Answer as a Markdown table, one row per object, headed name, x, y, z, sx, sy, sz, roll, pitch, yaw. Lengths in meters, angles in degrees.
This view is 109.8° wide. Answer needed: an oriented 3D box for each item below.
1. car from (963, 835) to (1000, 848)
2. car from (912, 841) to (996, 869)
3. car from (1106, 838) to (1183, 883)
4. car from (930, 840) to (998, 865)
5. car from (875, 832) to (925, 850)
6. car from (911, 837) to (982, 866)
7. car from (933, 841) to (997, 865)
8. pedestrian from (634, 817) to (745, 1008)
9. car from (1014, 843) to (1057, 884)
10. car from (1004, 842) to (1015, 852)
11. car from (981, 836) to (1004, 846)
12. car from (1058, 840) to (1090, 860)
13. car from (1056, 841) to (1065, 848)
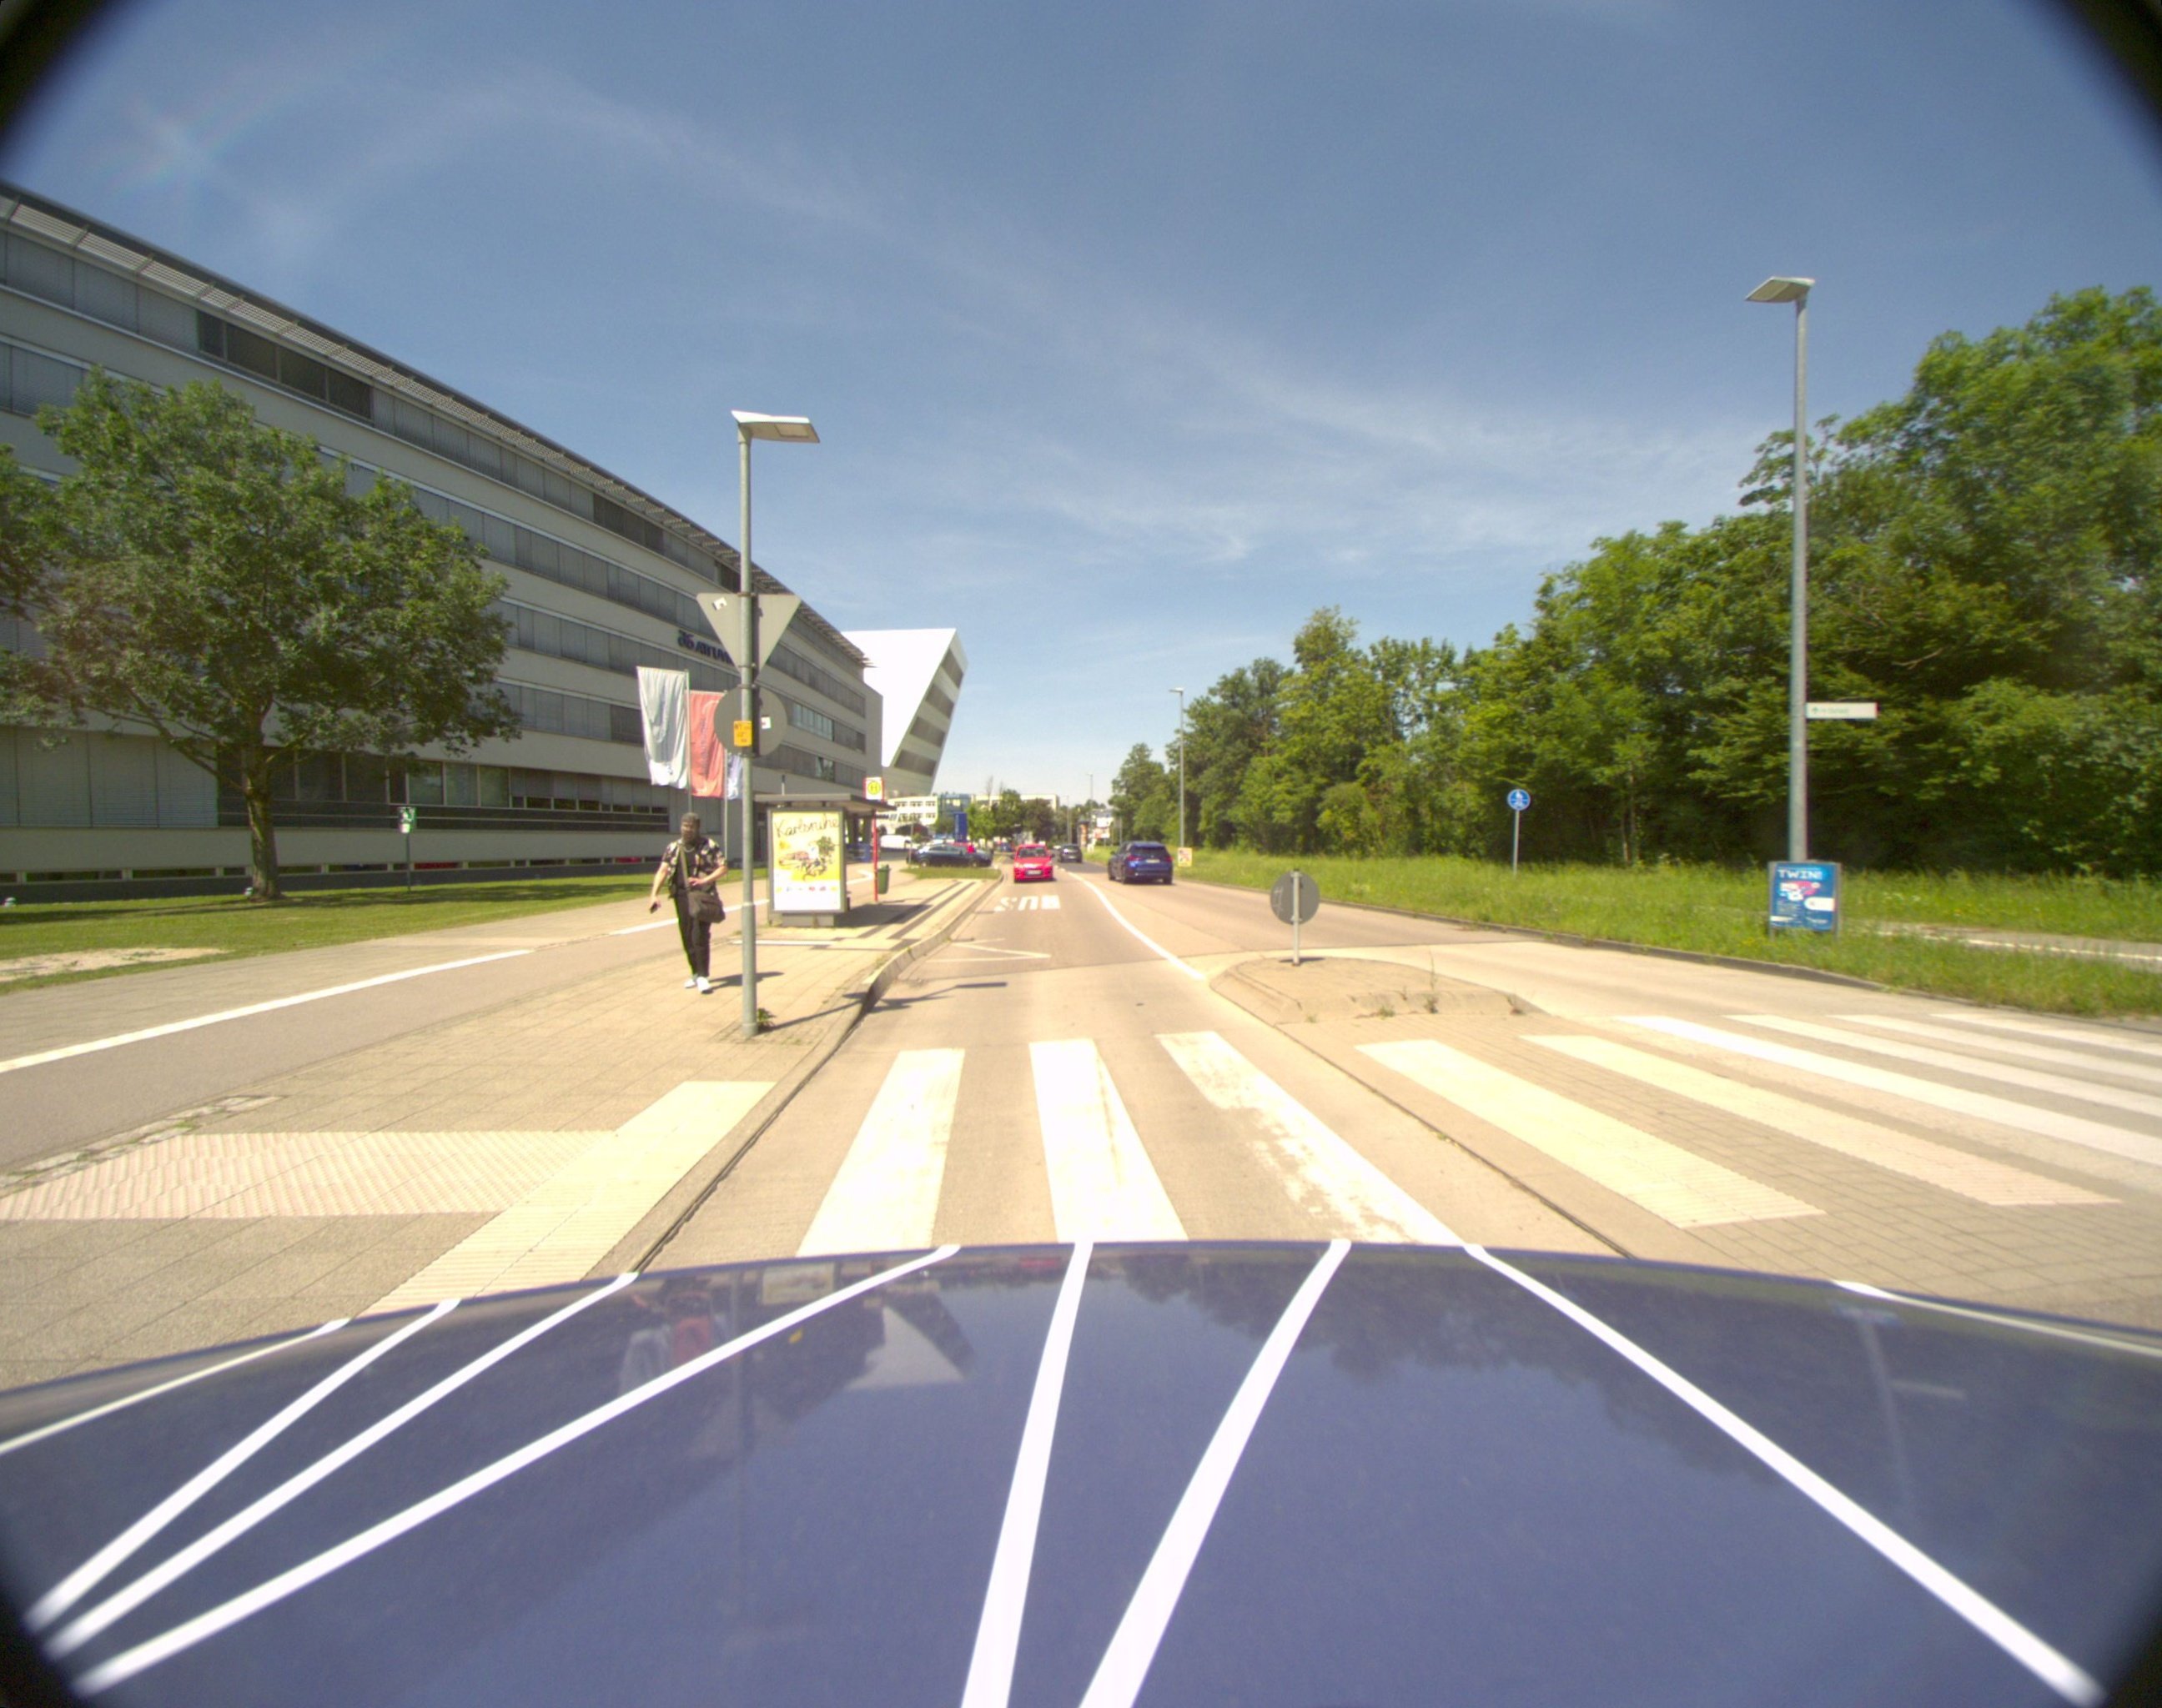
| name | x | y | z | sx | sy | sz | roll | pitch | yaw |
| --- | --- | --- | --- | --- | --- | --- | --- | --- | --- |
| car | -18.818 | -2.328 | 143.654 | 6.494 | 2.137 | 2.164 | -2 | 2 | 2 |
| car | -7.207 | 0.043 | 43.420 | 4.581 | 1.424 | 1.826 | 1 | 2 | -6 |
| car | 2.348 | 0.254 | 29.452 | 2.000 | 1.586 | 4.319 | 0 | 0 | -9 |
| car | -7.765 | -0.123 | 50.574 | 4.333 | 1.555 | 1.785 | 1 | 2 | -4 |
| car | -27.508 | -1.989 | 115.892 | 6.963 | 2.648 | 2.255 | -2 | 2 | 5 |
| car | -8.047 | -0.177 | 45.859 | 3.998 | 1.646 | 1.838 | 0 | 2 | -2 |
| car | -7.328 | -0.097 | 48.182 | 3.818 | 1.478 | 1.655 | 0 | 2 | -2 |
| pedestrian | -3.898 | 0.551 | 7.618 | 0.710 | 1.812 | 0.826 | 1 | 2 | -4 |
| car | -1.853 | 0.350 | 31.590 | 1.662 | 1.495 | 3.355 | -2 | 2 | -2 |
| car | -11.819 | -1.168 | 125.304 | 1.802 | 1.490 | 3.997 | -2 | 2 | -5 |
| car | -17.394 | -2.538 | 149.519 | 4.205 | 1.965 | 1.703 | -2 | 2 | 2 |
| car | -0.550 | -0.330 | 58.400 | 2.000 | 1.470 | 4.286 | 0 | 0 | -7 |
| car | -4.556 | -2.149 | 169.289 | 1.999 | 1.622 | 3.998 | -2 | 2 | -2 |
